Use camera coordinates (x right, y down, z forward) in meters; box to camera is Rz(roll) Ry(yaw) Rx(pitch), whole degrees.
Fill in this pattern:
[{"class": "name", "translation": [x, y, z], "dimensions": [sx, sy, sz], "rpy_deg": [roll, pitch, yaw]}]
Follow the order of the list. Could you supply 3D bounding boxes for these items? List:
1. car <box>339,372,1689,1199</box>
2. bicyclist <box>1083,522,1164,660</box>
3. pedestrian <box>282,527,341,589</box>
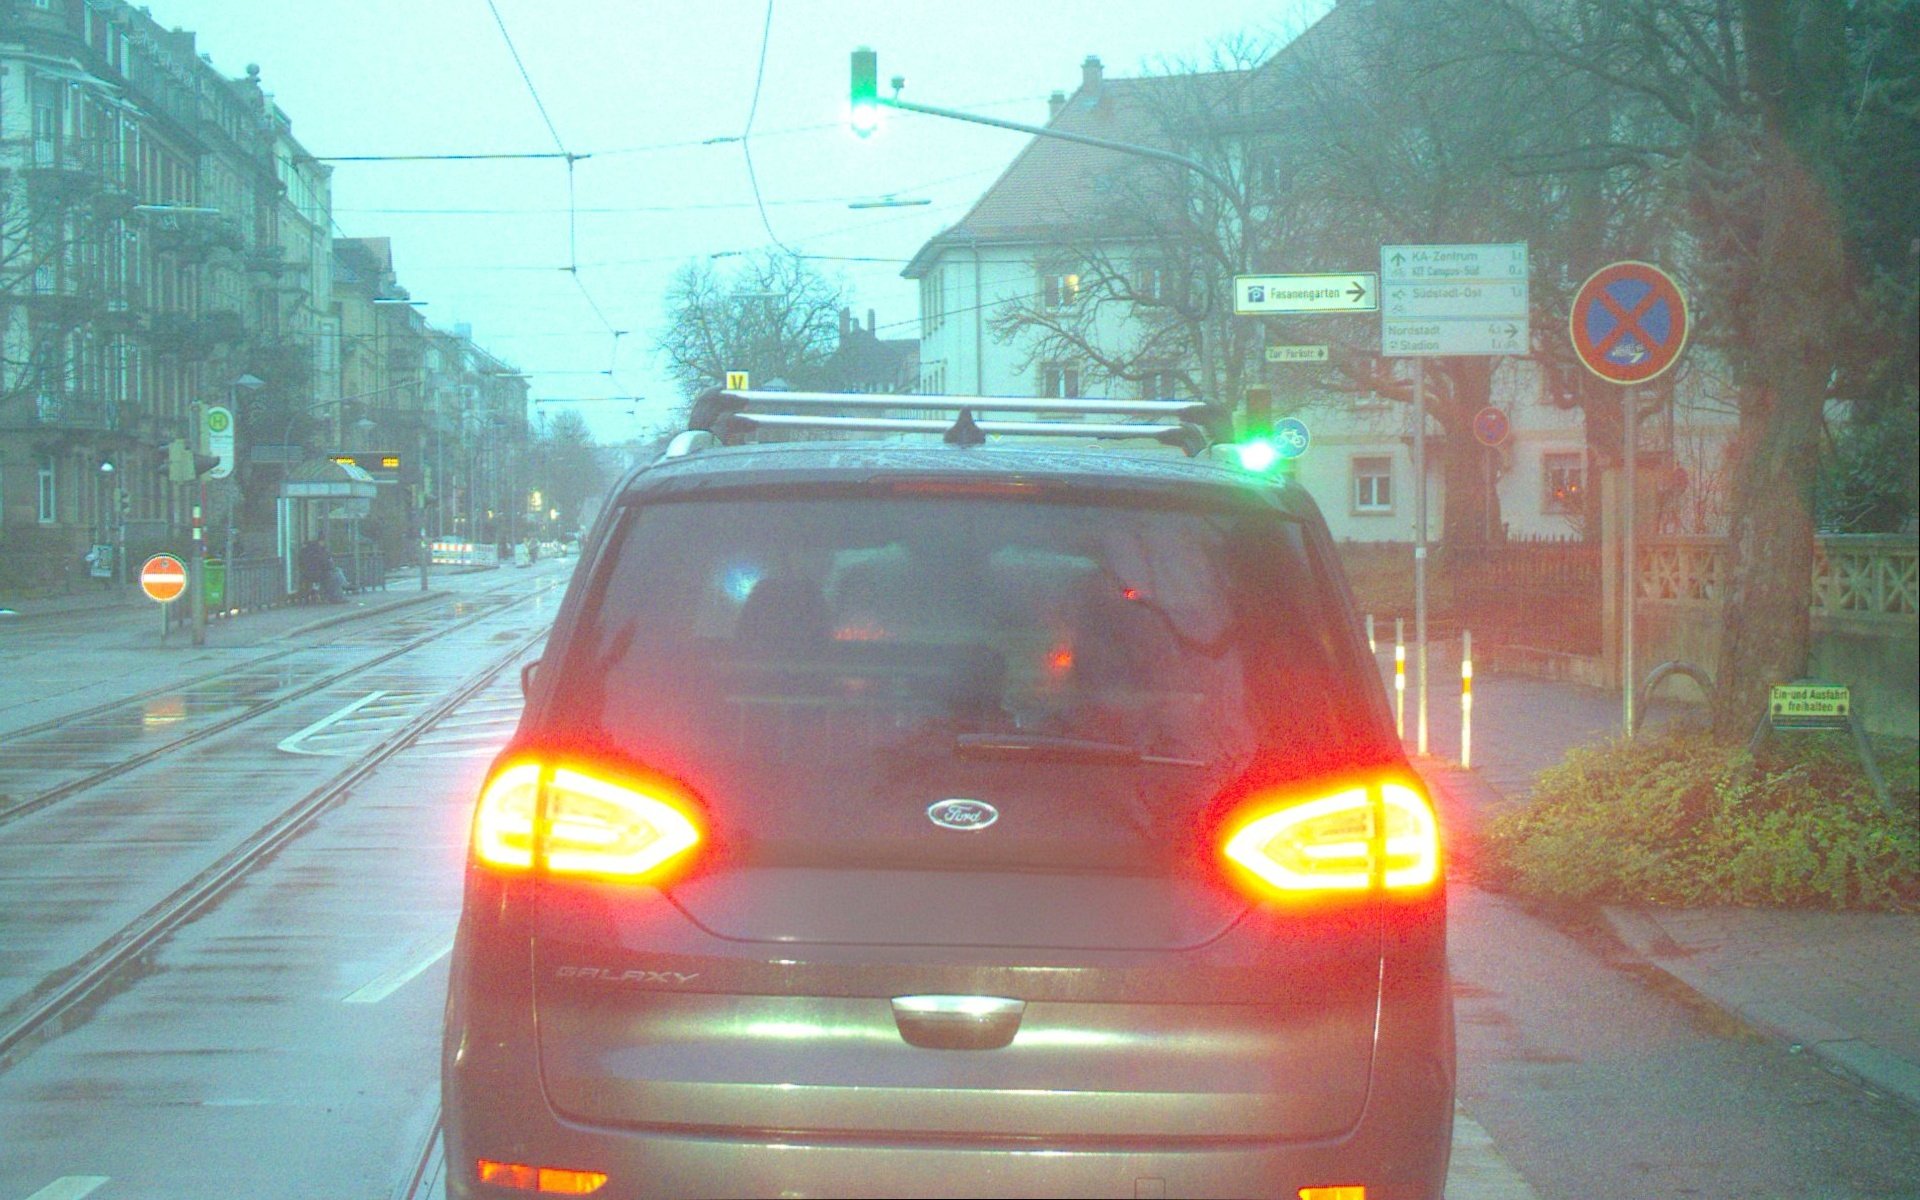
[{"class": "car", "translation": [-0.004, 0.524, 7.770], "dimensions": [2.103, 1.810, 4.661], "rpy_deg": [1, 1, -2]}, {"class": "bicyclist", "translation": [2.035, -0.117, 42.865], "dimensions": [0.716, 1.657, 1.057], "rpy_deg": [3, 1, -8]}, {"class": "pedestrian", "translation": [-12.833, -0.833, 68.056], "dimensions": [1.047, 1.196, 0.885], "rpy_deg": [0, 0, -3]}]
